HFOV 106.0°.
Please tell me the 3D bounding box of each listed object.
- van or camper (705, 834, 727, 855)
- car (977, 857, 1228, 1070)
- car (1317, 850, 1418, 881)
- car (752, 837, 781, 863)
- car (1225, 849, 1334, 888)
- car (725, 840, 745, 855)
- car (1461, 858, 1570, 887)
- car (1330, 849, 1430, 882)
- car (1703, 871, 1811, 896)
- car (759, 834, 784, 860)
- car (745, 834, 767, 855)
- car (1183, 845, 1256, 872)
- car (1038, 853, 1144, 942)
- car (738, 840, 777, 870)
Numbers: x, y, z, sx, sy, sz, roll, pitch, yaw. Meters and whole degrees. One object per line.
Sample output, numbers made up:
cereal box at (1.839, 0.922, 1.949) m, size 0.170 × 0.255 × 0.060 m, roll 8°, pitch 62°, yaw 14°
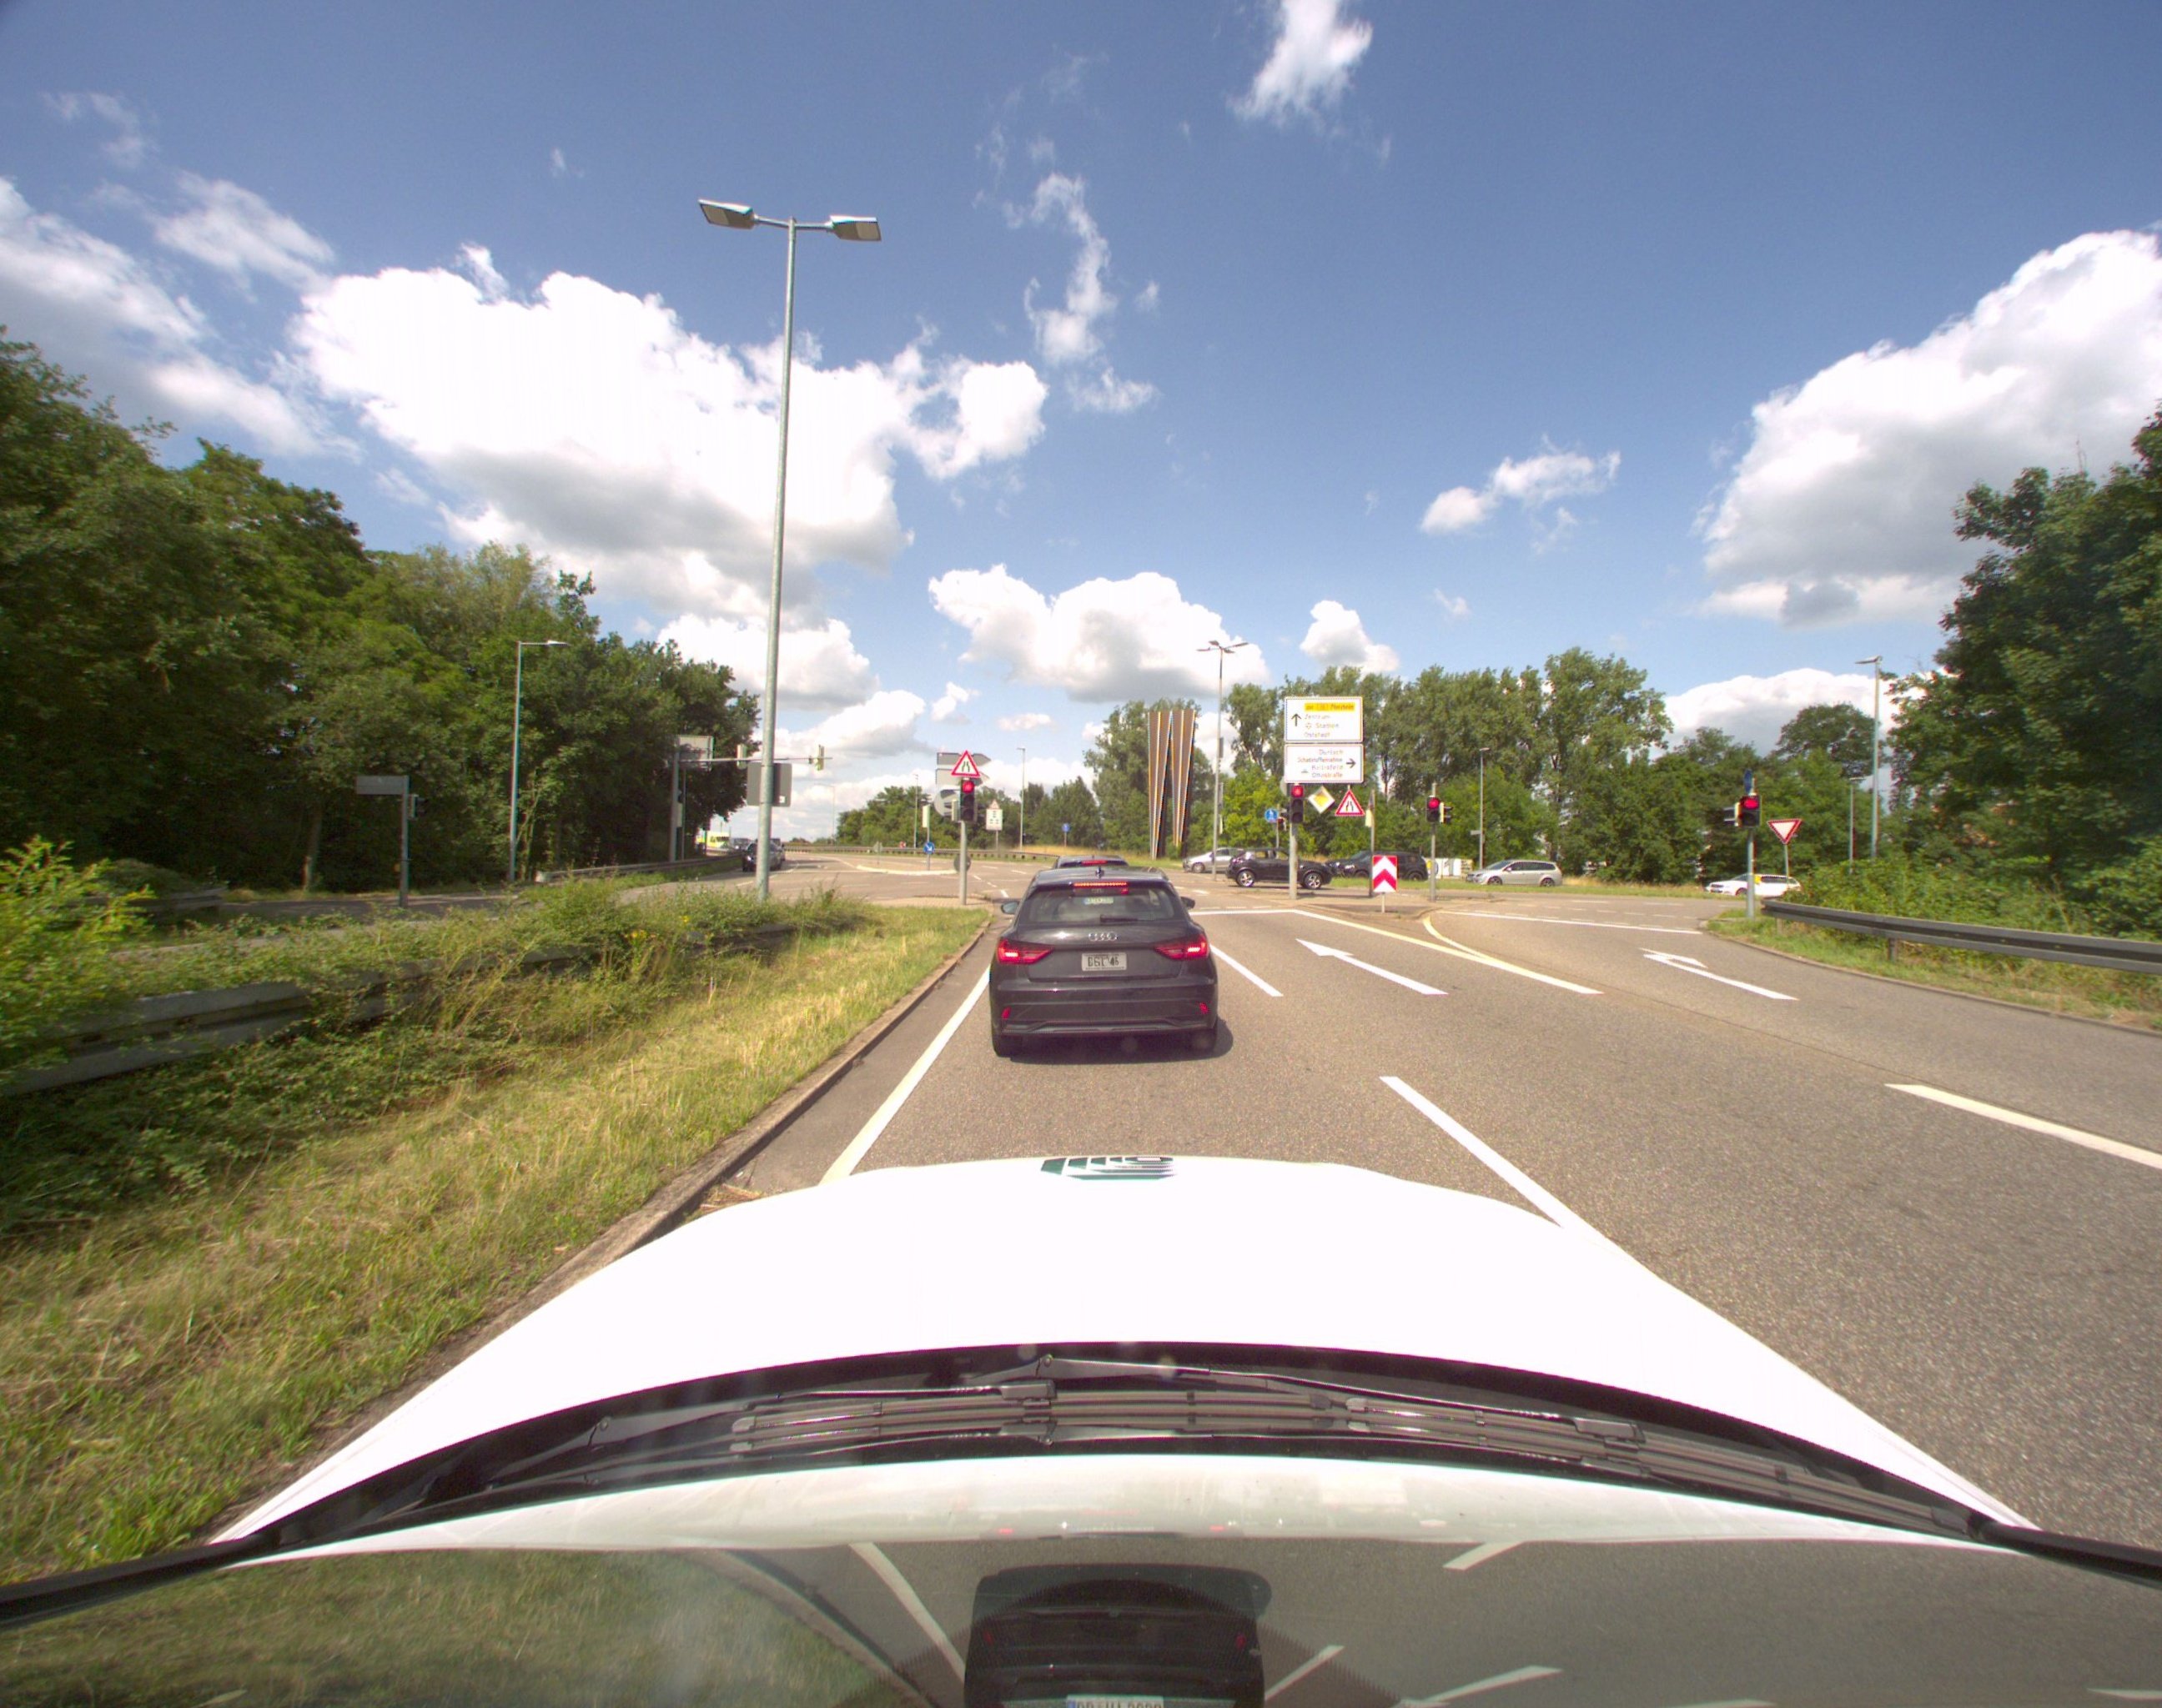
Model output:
van or camper at (-46.624, -1.181, 103.940) m, size 2.006 × 2.683 × 6.798 m, roll 0°, pitch 0°, yaw -30°
car at (0.211, 0.767, 7.667) m, size 1.720 × 1.404 × 4.002 m, roll -1°, pitch 0°, yaw 2°
car at (15.271, 0.594, 43.529) m, size 4.831 × 1.545 × 1.737 m, roll 1°, pitch 0°, yaw 0°
car at (-23.209, -0.304, 60.222) m, size 1.849 × 1.802 × 4.299 m, roll 1°, pitch 0°, yaw -19°
car at (7.638, 0.542, 31.704) m, size 3.936 × 1.418 × 1.957 m, roll 1°, pitch 0°, yaw 7°
car at (-38.825, -0.731, 91.274) m, size 1.853 × 1.705 × 4.289 m, roll 1°, pitch 0°, yaw -26°
car at (21.127, 0.880, 39.714) m, size 4.460 × 1.320 × 1.736 m, roll 1°, pitch 0°, yaw -2°
car at (14.513, 0.540, 39.692) m, size 4.253 × 1.545 × 1.737 m, roll 1°, pitch 0°, yaw 0°
car at (36.619, 1.580, 44.165) m, size 4.481 × 1.281 × 1.736 m, roll 1°, pitch 0°, yaw -2°
car at (-25.763, -0.555, 67.634) m, size 1.850 × 2.100 × 4.295 m, roll 1°, pitch 0°, yaw -22°
car at (-32.587, -0.949, 81.559) m, size 1.852 × 1.978 × 4.292 m, roll 1°, pitch 0°, yaw -25°
car at (8.056, 0.278, 47.715) m, size 4.085 × 1.496 × 2.003 m, roll 1°, pitch 0°, yaw 6°
car at (0.097, 0.718, 15.476) m, size 1.722 × 1.423 × 3.841 m, roll -1°, pitch 0°, yaw -2°
car at (-18.273, 0.086, 46.166) m, size 1.844 × 1.618 × 3.974 m, roll 0°, pitch -1°, yaw -19°
